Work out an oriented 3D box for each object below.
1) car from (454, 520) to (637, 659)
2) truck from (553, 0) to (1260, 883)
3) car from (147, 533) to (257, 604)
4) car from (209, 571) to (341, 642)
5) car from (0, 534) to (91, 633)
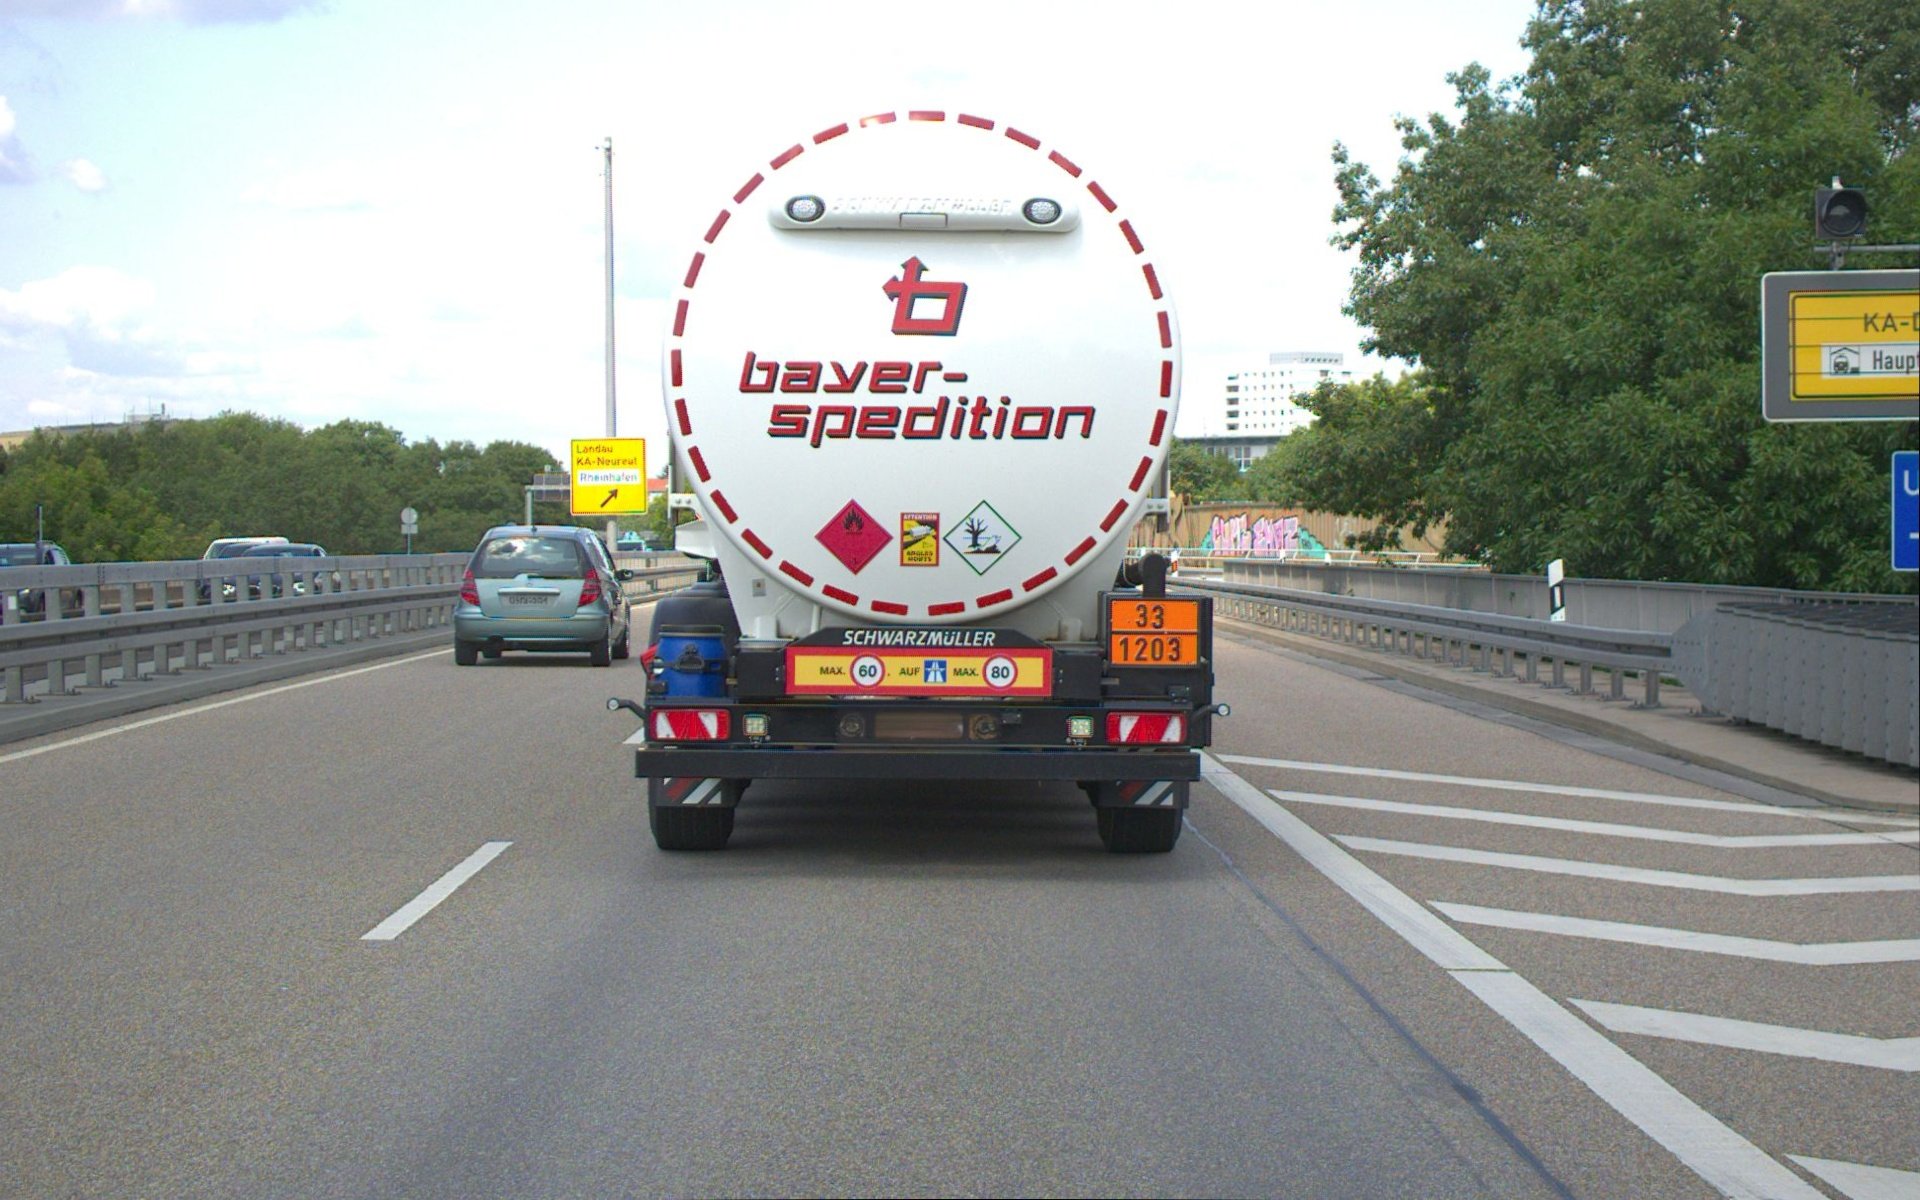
[{"bbox_3d":[-4.776,-0.161,40.045,1.747,1.526,4.001,0,1,-1],"label":"car"},{"bbox_3d":[-0.335,-1.083,18.468,2.895,4.353,8.030,1,1,-2],"label":"truck"},{"bbox_3d":[-18.428,-0.788,83.733,1.890,1.634,4.513,1,1,-3],"label":"car"},{"bbox_3d":[-12.481,0.096,62.815,1.681,1.181,4.000,1,1,-1],"label":"car"},{"bbox_3d":[-16.516,-0.321,59.855,1.822,1.633,4.000,1,1,-1],"label":"car"}]
